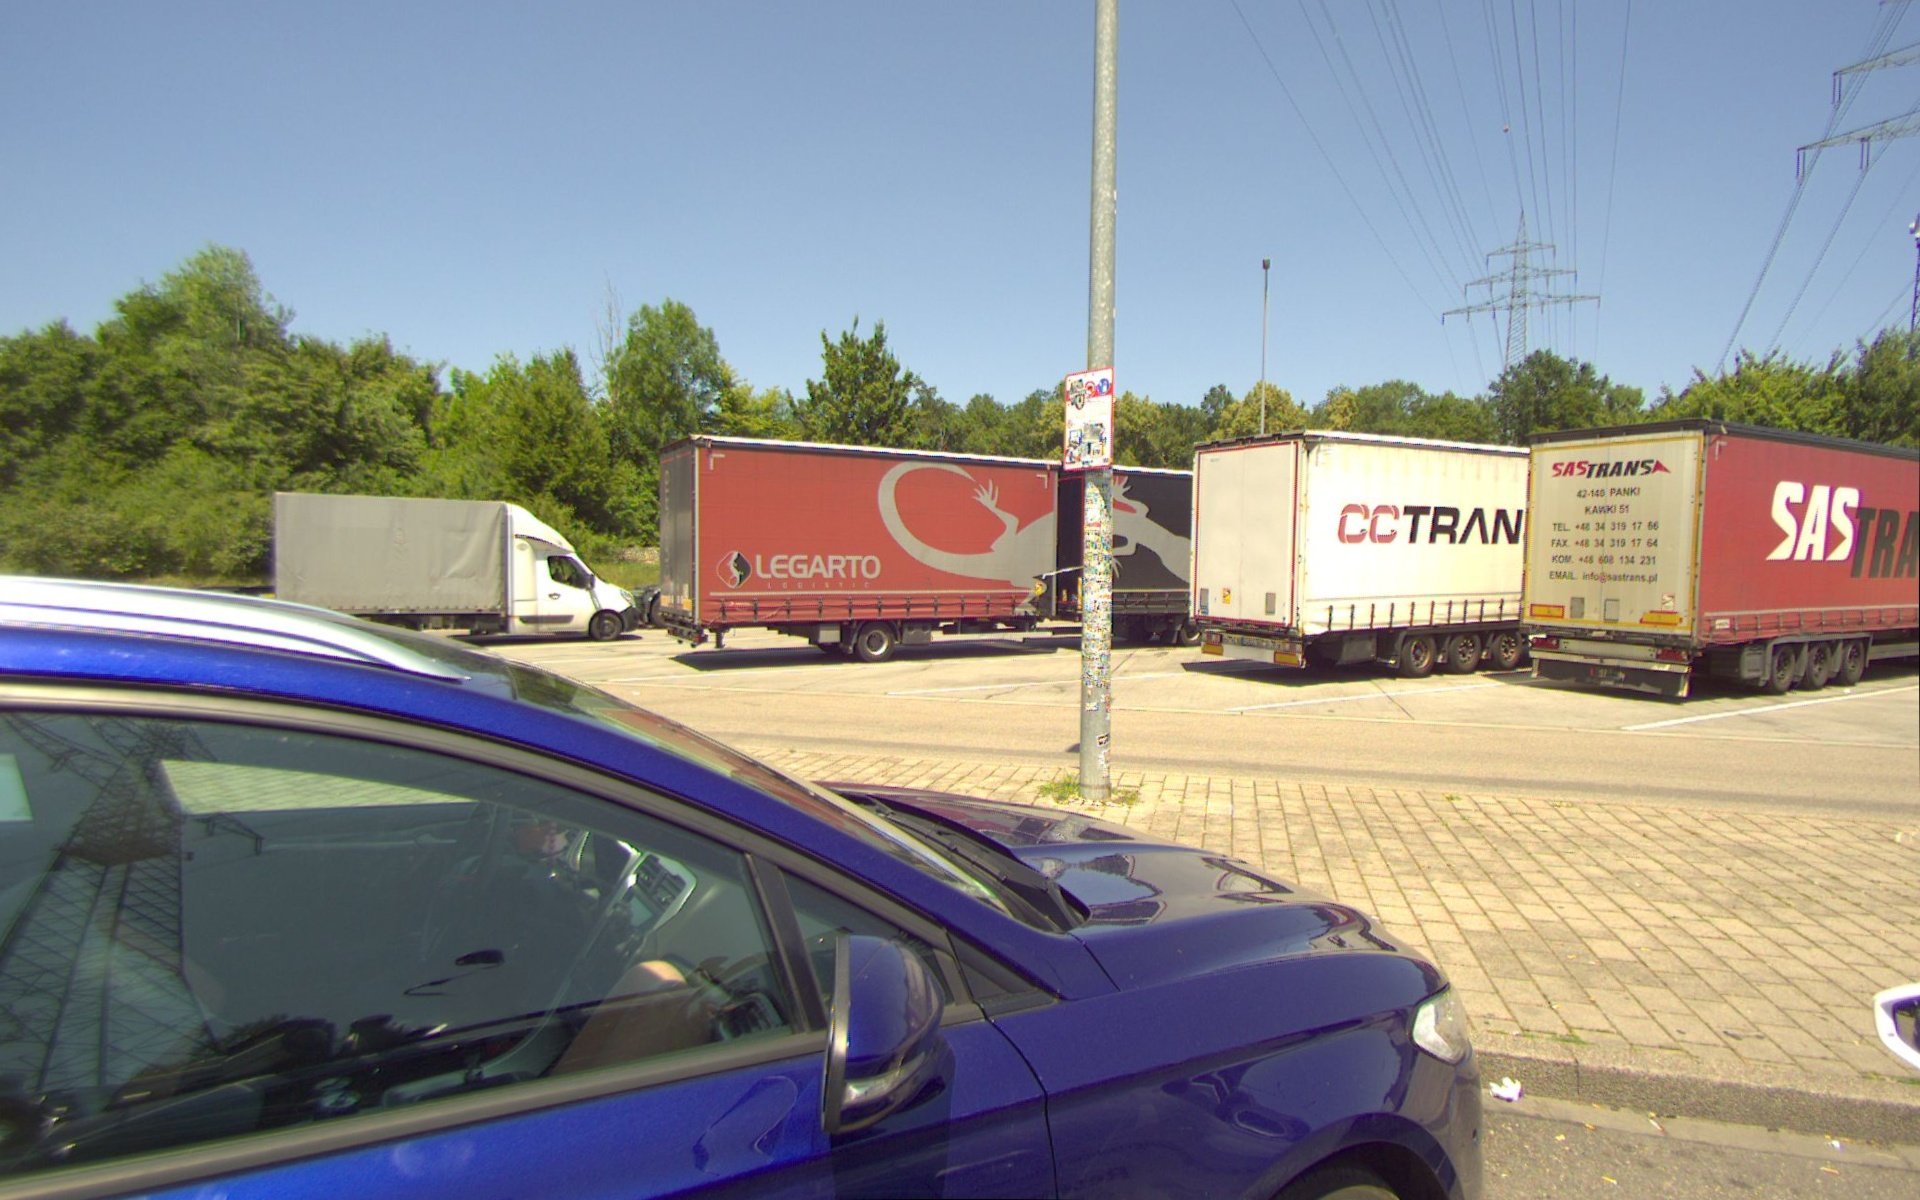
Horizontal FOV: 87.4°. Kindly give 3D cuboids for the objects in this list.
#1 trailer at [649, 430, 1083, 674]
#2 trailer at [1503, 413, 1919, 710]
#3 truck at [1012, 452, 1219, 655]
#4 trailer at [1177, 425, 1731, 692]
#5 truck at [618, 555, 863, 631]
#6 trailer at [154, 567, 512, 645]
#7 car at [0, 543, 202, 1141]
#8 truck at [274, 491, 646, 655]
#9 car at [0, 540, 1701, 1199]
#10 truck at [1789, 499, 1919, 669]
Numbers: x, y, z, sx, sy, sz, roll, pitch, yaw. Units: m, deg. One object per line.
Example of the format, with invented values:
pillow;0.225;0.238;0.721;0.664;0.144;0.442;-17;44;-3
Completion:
trailer;-1.714;-0.901;20.332;8.376;4.141;2.722;-1;3;-30
trailer;15.635;-0.693;18.729;13.962;4.141;2.777;-1;3;-30
truck;3.598;-1.068;23.453;3.947;4.298;2.723;-1;3;-30
trailer;10.615;-0.801;20.340;13.962;4.141;2.782;-1;3;-30
truck;-6.318;-0.232;29.278;6.733;2.041;1.987;-1;1;-26
trailer;-15.135;0.055;24.897;7.204;1.711;2.249;-1;3;-29
car;-4.583;0.603;2.230;4.444;1.520;1.762;0;2;-32
truck;-11.161;-0.625;23.028;7.204;3.279;2.727;-1;3;-29
car;-1.007;0.680;1.497;4.444;1.511;1.859;0;2;-32
truck;21.238;-0.395;22.006;5.829;3.373;2.837;-1;3;-30
